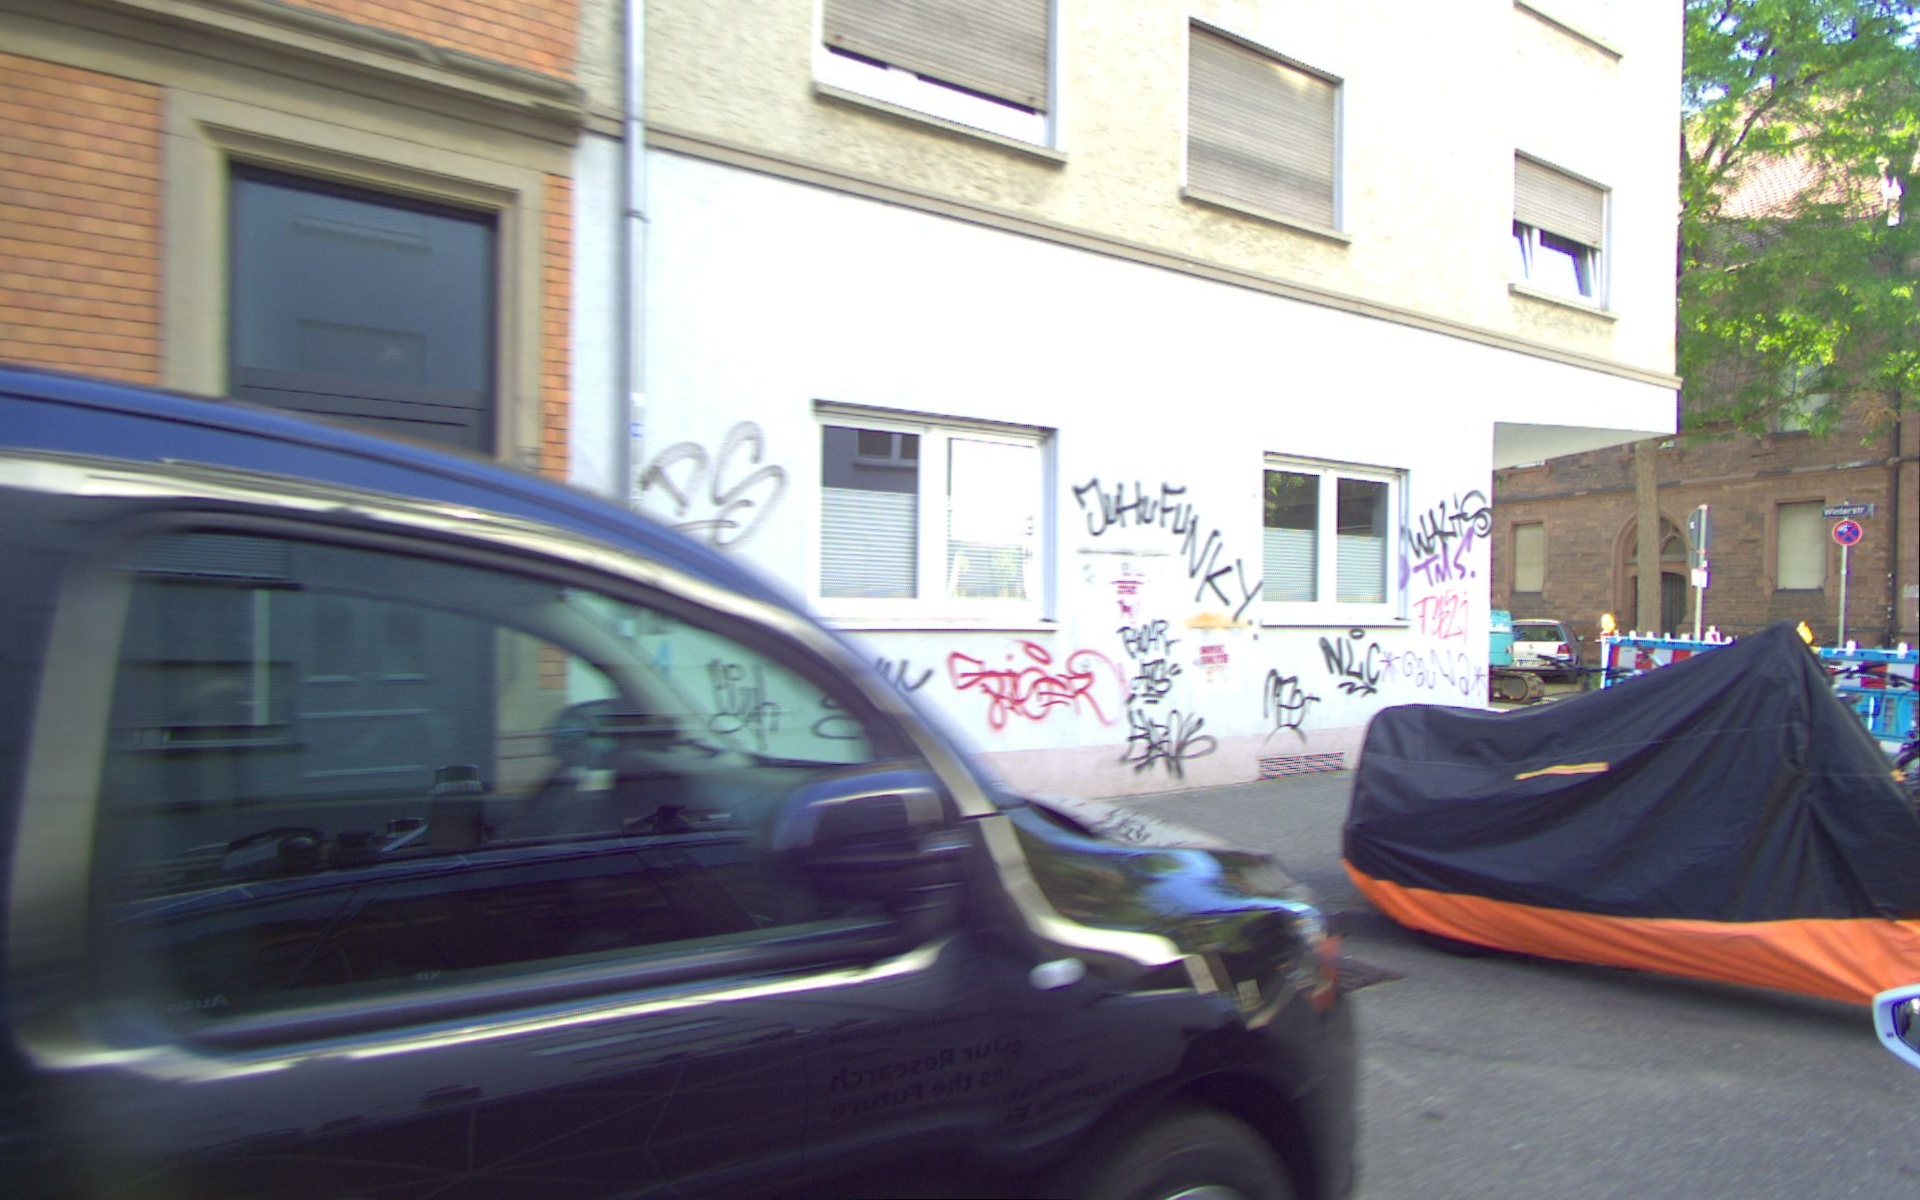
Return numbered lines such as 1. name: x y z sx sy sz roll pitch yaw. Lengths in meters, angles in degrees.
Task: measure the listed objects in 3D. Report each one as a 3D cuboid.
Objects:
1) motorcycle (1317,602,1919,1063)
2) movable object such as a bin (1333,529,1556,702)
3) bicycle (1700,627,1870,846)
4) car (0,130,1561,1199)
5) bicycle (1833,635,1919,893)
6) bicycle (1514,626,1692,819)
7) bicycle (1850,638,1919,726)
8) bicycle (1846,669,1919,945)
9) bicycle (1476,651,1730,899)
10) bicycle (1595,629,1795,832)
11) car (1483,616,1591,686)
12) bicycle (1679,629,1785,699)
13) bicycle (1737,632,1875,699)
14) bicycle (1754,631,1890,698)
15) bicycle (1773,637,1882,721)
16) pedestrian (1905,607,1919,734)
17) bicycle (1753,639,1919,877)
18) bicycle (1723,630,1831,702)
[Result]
1. motorcycle: 2.842 0.772 4.072 2.478 1.502 0.901 1 0 34
2. movable object such as a bin: 8.114 0.256 17.004 2.042 2.635 2.744 0 -1 -25
3. bicycle: 5.358 0.820 6.495 1.679 1.244 0.293 -1 1 -31
4. car: -1.039 0.534 1.676 4.288 1.790 1.808 1 -1 -33
5. bicycle: 5.515 0.835 5.620 1.852 1.244 0.397 -1 0 -31
6. bicycle: 4.778 0.840 7.414 1.796 1.244 0.397 -1 0 -33
7. bicycle: 16.184 1.359 17.175 2.415 1.338 0.680 -1 0 -29
8. bicycle: 4.867 0.921 4.757 1.645 1.155 0.423 1 2 -29
9. bicycle: 3.678 0.897 5.685 1.853 1.171 0.543 1 -1 -35
10. bicycle: 5.297 0.866 7.191 2.006 1.244 0.397 -1 0 -31
11. car: 13.988 1.162 24.243 1.830 1.503 4.256 0 -1 36
12. bicycle: 14.734 1.198 19.158 2.414 1.196 0.680 -1 0 -29
13. bicycle: 16.553 1.250 19.707 0.676 1.196 1.954 -1 0 -28
14. bicycle: 17.171 1.254 20.064 0.676 1.196 1.955 -1 0 -28
15. bicycle: 15.448 1.371 17.863 2.415 1.338 0.680 -1 0 -29
16. pedestrian: 13.663 0.984 14.065 0.552 1.764 0.521 1 0 -34
17. bicycle: 5.325 0.883 6.036 1.535 1.244 0.361 -1 0 -31
18. bicycle: 15.077 1.184 18.514 2.414 1.196 0.680 -1 0 -29
